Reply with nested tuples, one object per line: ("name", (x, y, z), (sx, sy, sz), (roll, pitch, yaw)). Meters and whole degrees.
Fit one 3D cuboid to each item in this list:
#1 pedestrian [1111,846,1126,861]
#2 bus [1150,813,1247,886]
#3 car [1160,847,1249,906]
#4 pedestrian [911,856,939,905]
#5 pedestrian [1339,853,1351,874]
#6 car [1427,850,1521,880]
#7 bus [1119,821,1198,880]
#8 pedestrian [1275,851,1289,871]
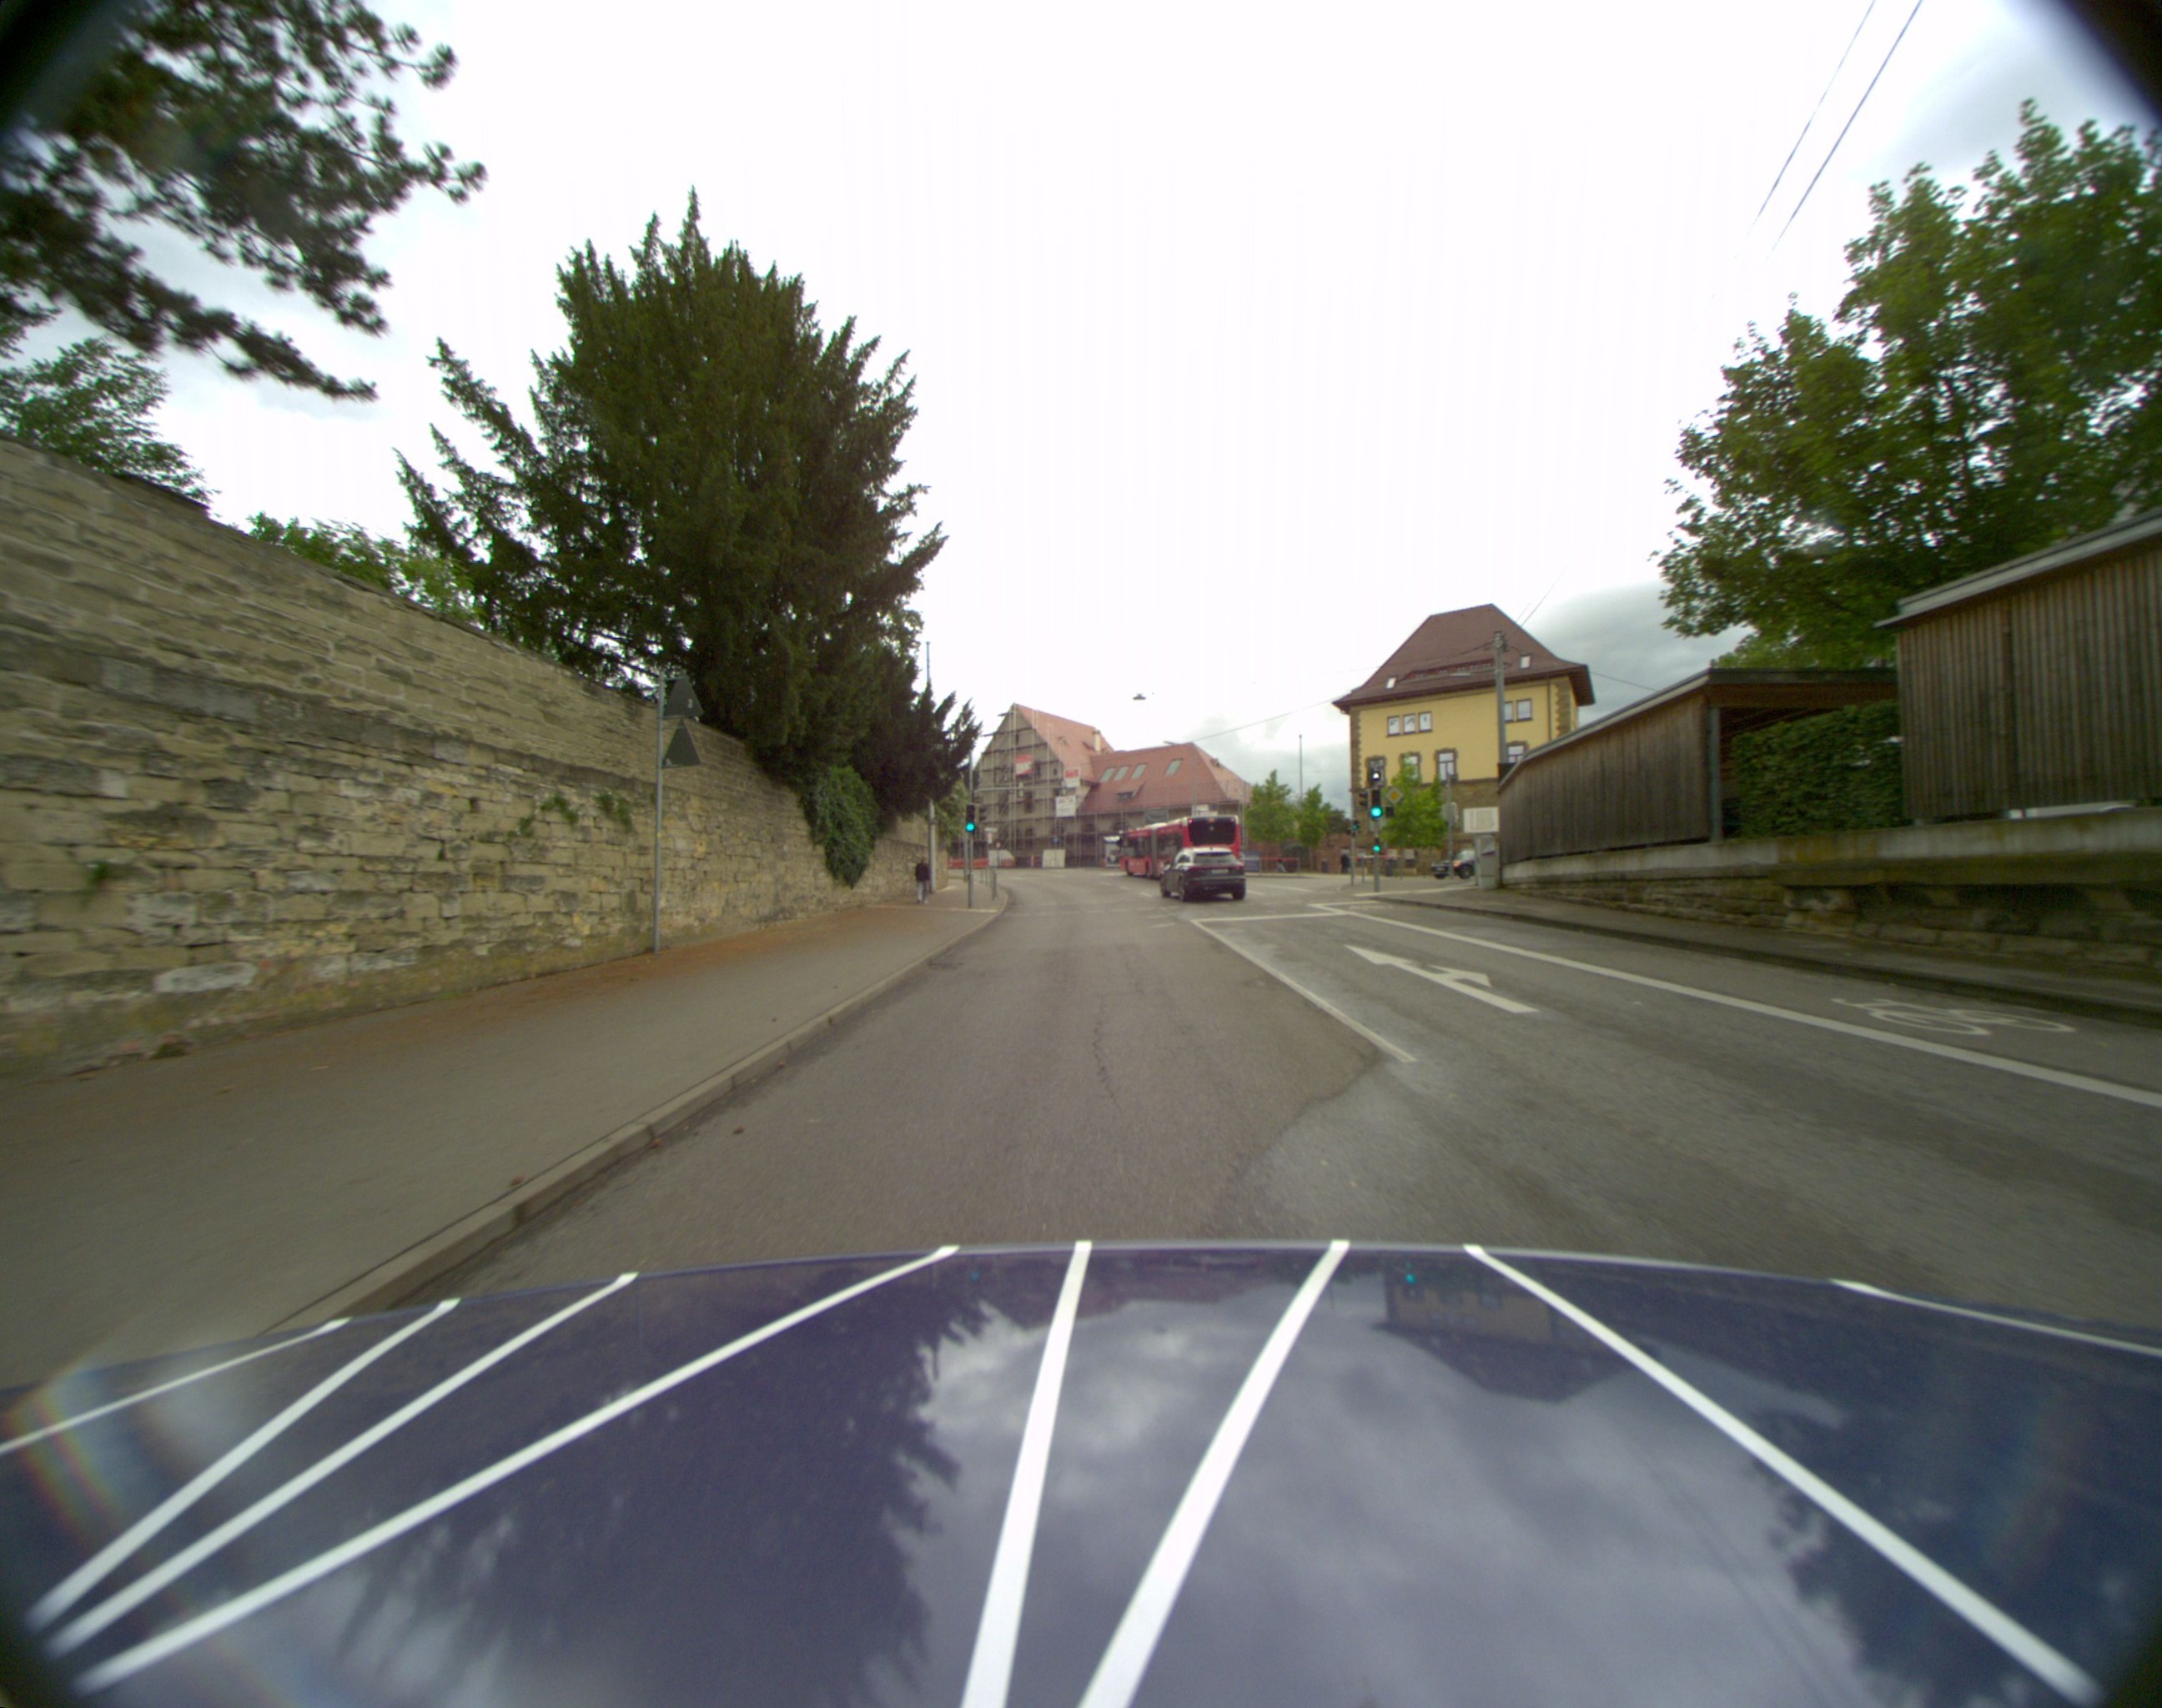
("pedestrian", (3.180, -0.029, 64.362), (0.937, 1.185, 0.903), (3, 0, -25))
("bus", (5.521, -0.210, 37.365), (2.665, 3.103, 8.288), (-2, 0, -5))
("car", (3.894, 0.636, 24.768), (1.927, 1.621, 4.521), (-3, 1, -2))
("pedestrian", (-5.063, 0.843, 24.697), (0.733, 1.567, 0.743), (1, 0, -2))
("pedestrian", (19.988, 0.683, 57.469), (0.541, 1.568, 0.651), (-1, 1, -38))
("car", (20.540, 0.582, 39.739), (4.278, 1.504, 1.996), (1, 0, -21))
("bus", (4.500, -0.214, 46.491), (2.666, 3.103, 10.013), (-2, 0, -6))
("pedestrian", (16.750, 0.576, 63.162), (0.796, 1.710, 0.928), (1, 1, 39))
